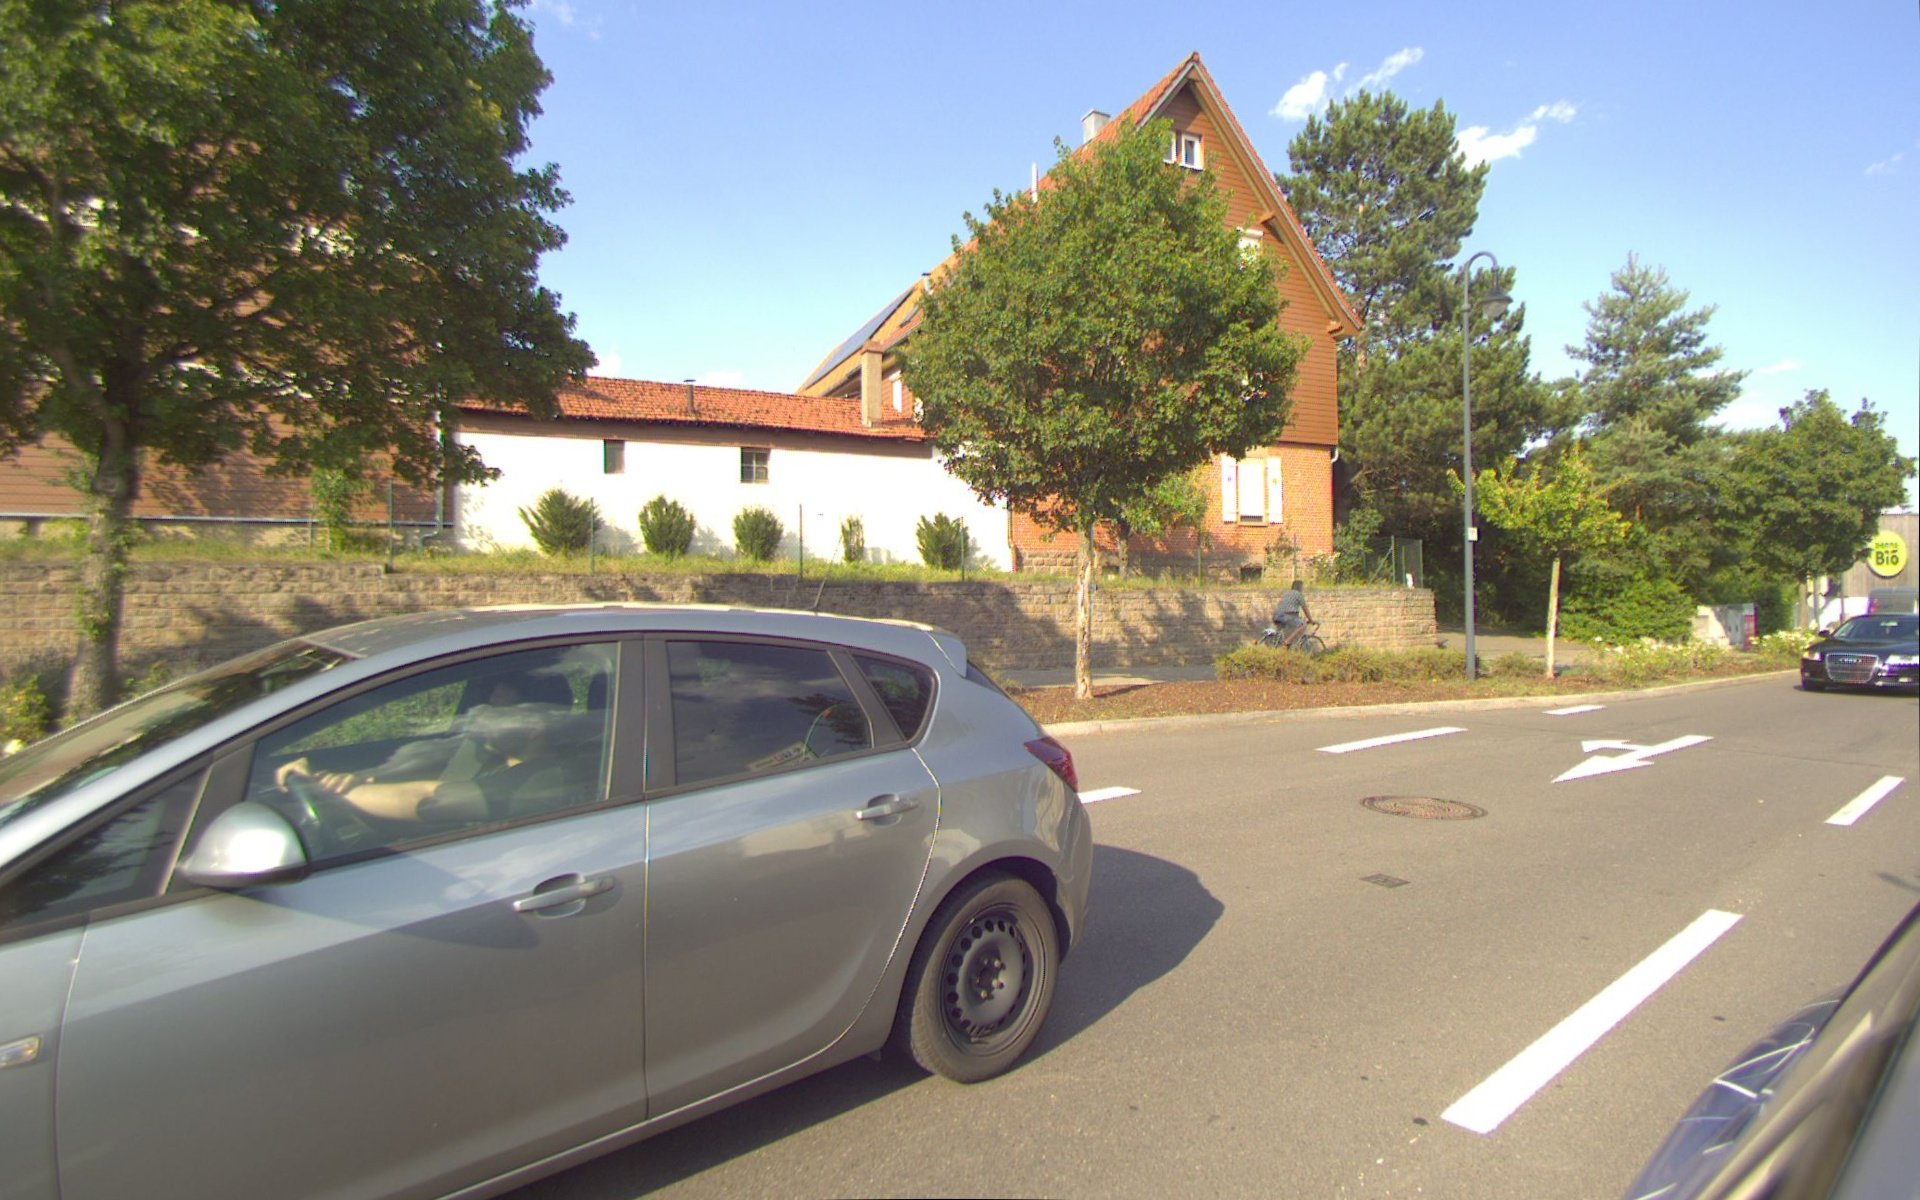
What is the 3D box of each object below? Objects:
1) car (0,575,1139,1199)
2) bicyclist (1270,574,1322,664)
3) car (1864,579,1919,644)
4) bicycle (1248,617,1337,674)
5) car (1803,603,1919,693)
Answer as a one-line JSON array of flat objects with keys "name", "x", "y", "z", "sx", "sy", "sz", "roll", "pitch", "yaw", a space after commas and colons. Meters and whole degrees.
[{"name": "car", "x": -1.478, "y": 0.684, "z": 2.817, "sx": 4.095, "sy": 1.460, "sz": 1.746, "roll": 0, "pitch": 0, "yaw": -42}, {"name": "bicyclist", "x": 6.501, "y": 0.359, "z": 19.582, "sx": 0.719, "sy": 1.699, "sz": 0.605, "roll": 0, "pitch": -1, "yaw": -28}, {"name": "car", "x": 39.559, "y": 0.443, "z": 40.703, "sx": 2.340, "sy": 2.579, "sz": 6.160, "roll": 0, "pitch": 0, "yaw": 16}, {"name": "bicycle", "x": 6.434, "y": 0.860, "z": 19.561, "sx": 1.838, "sy": 1.031, "sz": 0.523, "roll": 0, "pitch": 0, "yaw": -29}, {"name": "car", "x": 17.293, "y": 0.795, "z": 18.395, "sx": 4.499, "sy": 1.453, "sz": 1.688, "roll": 0, "pitch": 0, "yaw": -32}]
